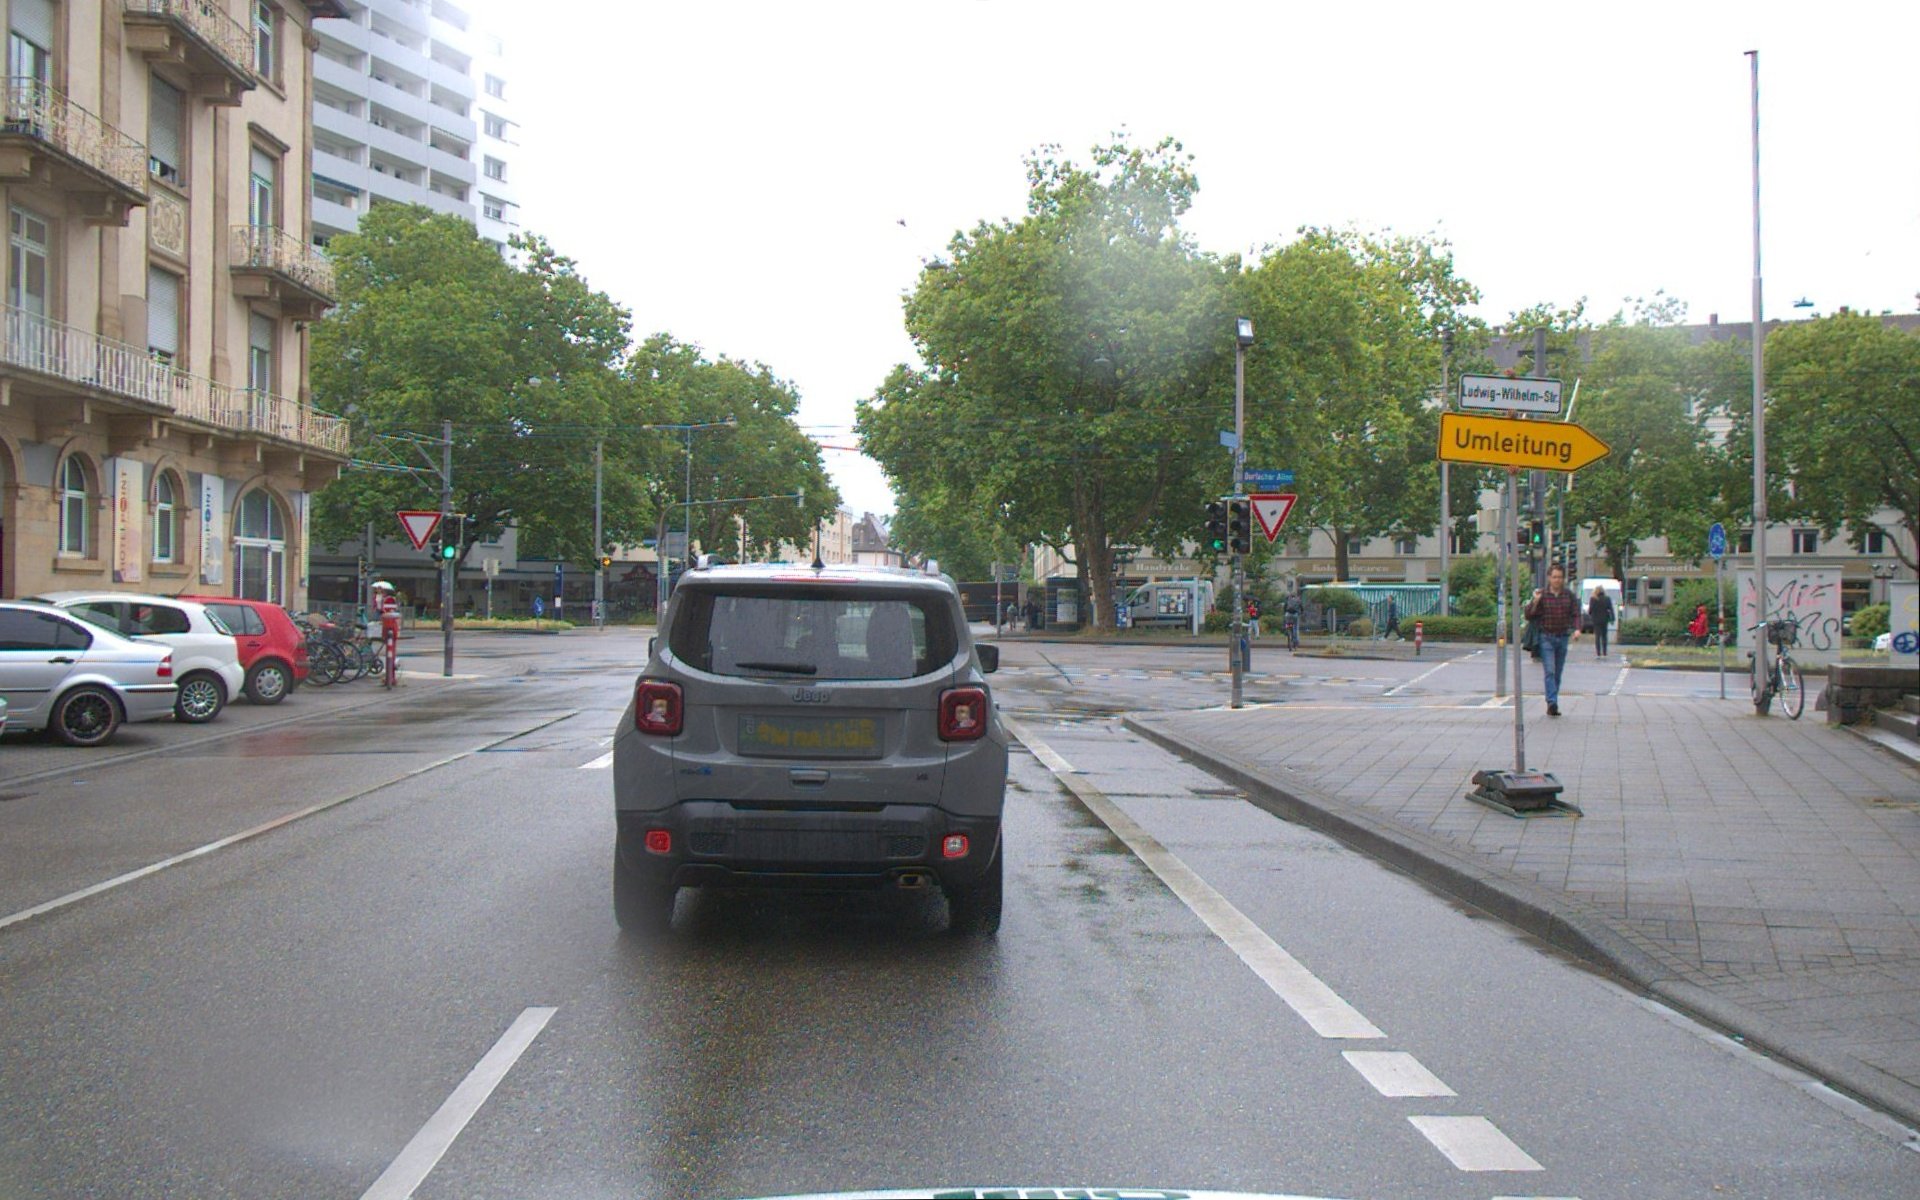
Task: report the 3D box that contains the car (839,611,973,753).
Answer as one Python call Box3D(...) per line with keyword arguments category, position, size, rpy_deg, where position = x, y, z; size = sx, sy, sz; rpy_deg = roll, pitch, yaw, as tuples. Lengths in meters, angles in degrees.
Box3D(category="car", position=(-0.587, 0.832, 18.257), size=(1.336, 1.400, 3.311), rpy_deg=(0, 0, -2))

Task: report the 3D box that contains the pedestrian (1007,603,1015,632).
Box3D(category="pedestrian", position=(3.077, 1.034, 99.713), size=(0.448, 1.733, 0.424), rpy_deg=(0, 0, -1))

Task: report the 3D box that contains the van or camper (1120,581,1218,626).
Box3D(category="van or camper", position=(11.321, 0.172, 89.849), size=(5.150, 2.356, 2.090), rpy_deg=(1, 0, 2))

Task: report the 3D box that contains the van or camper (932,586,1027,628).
Box3D(category="van or camper", position=(1.418, 0.517, 119.768), size=(6.397, 2.963, 2.492), rpy_deg=(0, 0, 25))

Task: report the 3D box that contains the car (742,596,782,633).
Box3D(category="car", position=(-9.251, 0.650, 77.557), size=(1.779, 1.700, 3.915), rpy_deg=(0, 0, -6))

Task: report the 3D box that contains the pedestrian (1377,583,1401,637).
Box3D(category="pedestrian", position=(16.354, 0.378, 63.082), size=(0.789, 2.049, 0.589), rpy_deg=(0, 0, 25))

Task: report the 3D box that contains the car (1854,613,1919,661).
Box3D(category="car", position=(28.969, 1.088, 49.704), size=(3.487, 1.411, 1.629), rpy_deg=(0, 0, 21))

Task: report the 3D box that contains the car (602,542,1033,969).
Box3D(category="car", position=(-0.659, 0.631, 8.704), size=(1.739, 1.716, 3.846), rpy_deg=(-1, 0, -2))

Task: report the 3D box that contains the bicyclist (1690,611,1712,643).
Box3D(category="bicyclist", position=(24.658, 0.888, 55.035), size=(0.665, 1.044, 0.559), rpy_deg=(0, 0, 22))

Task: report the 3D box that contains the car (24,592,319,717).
Box3D(category="car", position=(-10.808, 0.698, 22.752), size=(3.372, 1.585, 1.680), rpy_deg=(0, 0, -41))

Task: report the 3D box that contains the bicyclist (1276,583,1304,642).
Box3D(category="bicyclist", position=(9.425, 0.357, 47.208), size=(0.672, 1.646, 0.884), rpy_deg=(-1, 0, 18))

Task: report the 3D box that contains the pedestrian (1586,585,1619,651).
Box3D(category="pedestrian", position=(16.433, 0.452, 42.305), size=(0.767, 1.674, 0.655), rpy_deg=(-1, 0, 22))

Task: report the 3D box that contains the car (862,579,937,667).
Box3D(category="car", position=(-1.459, 0.528, 40.377), size=(1.734, 2.049, 3.999), rpy_deg=(0, 0, -2))

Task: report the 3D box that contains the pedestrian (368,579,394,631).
Box3D(category="pedestrian", position=(-20.958, 0.173, 59.853), size=(0.605, 1.858, 0.695), rpy_deg=(-1, 0, 12))

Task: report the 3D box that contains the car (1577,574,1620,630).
Box3D(category="car", position=(30.674, 0.091, 79.404), size=(1.868, 2.600, 4.786), rpy_deg=(0, 0, 22))

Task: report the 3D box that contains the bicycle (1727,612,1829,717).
Box3D(category="bicycle", position=(9.771, 0.742, 19.828), size=(0.322, 1.174, 2.076), rpy_deg=(0, 0, 4))

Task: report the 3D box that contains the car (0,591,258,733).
Box3D(category="car", position=(-10.439, 0.698, 19.870), size=(3.372, 1.585, 1.680), rpy_deg=(0, 0, -41))

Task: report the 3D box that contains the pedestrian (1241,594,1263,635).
Box3D(category="pedestrian", position=(11.534, 0.577, 65.215), size=(0.660, 1.581, 0.761), rpy_deg=(0, -2, 26))

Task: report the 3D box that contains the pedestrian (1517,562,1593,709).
Box3D(category="pedestrian", position=(7.412, 0.438, 20.647), size=(0.769, 1.790, 0.946), rpy_deg=(-1, 0, 13))

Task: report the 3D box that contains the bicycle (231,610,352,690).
Box3D(category="bicycle", position=(-10.942, 0.806, 27.091), size=(1.774, 1.288, 0.498), rpy_deg=(0, 0, -3))

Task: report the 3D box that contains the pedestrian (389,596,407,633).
Box3D(category="pedestrian", position=(-24.332, 0.623, 71.598), size=(0.433, 1.556, 0.643), rpy_deg=(0, 0, 24))

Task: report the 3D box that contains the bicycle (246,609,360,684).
Box3D(category="bicycle", position=(-11.419, 0.800, 28.789), size=(1.728, 1.288, 0.608), rpy_deg=(0, 0, -3))

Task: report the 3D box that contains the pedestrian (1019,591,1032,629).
Box3D(category="pedestrian", position=(3.450, 0.528, 87.534), size=(0.637, 2.049, 0.483), rpy_deg=(0, 0, 11))

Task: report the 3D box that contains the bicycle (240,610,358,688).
Box3D(category="bicycle", position=(-11.088, 0.815, 27.771), size=(1.774, 1.288, 0.498), rpy_deg=(0, 0, -3))

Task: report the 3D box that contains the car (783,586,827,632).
Box3D(category="car", position=(-6.154, 0.351, 65.877), size=(1.688, 1.769, 3.725), rpy_deg=(0, 0, -5))

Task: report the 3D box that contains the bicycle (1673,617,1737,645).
Box3D(category="bicycle", position=(24.759, 1.022, 54.992), size=(1.926, 0.927, 0.559), rpy_deg=(0, 0, 22))

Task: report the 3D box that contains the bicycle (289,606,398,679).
Box3D(category="bicycle", position=(-11.054, 0.753, 29.680), size=(1.728, 1.288, 0.608), rpy_deg=(0, 0, -3))

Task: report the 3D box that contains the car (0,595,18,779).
Box3D(category="car", position=(-9.976, 0.744, 13.868), size=(3.372, 1.585, 1.680), rpy_deg=(0, 0, -41))

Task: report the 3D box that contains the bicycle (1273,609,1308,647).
Box3D(category="bicycle", position=(9.483, 0.785, 47.384), size=(0.677, 1.039, 2.659), rpy_deg=(-1, 0, 18))

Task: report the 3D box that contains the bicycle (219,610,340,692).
Box3D(category="bicycle", position=(-10.910, 0.814, 26.545), size=(1.728, 1.288, 0.522), rpy_deg=(0, 0, -3))

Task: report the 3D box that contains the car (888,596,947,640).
Box3D(category="car", position=(-1.307, 0.531, 49.832), size=(1.562, 1.274, 3.571), rpy_deg=(0, 0, -5))

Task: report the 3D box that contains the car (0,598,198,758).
Box3D(category="car", position=(-9.929, 0.770, 17.150), size=(3.372, 1.585, 1.680), rpy_deg=(0, 0, -41))
